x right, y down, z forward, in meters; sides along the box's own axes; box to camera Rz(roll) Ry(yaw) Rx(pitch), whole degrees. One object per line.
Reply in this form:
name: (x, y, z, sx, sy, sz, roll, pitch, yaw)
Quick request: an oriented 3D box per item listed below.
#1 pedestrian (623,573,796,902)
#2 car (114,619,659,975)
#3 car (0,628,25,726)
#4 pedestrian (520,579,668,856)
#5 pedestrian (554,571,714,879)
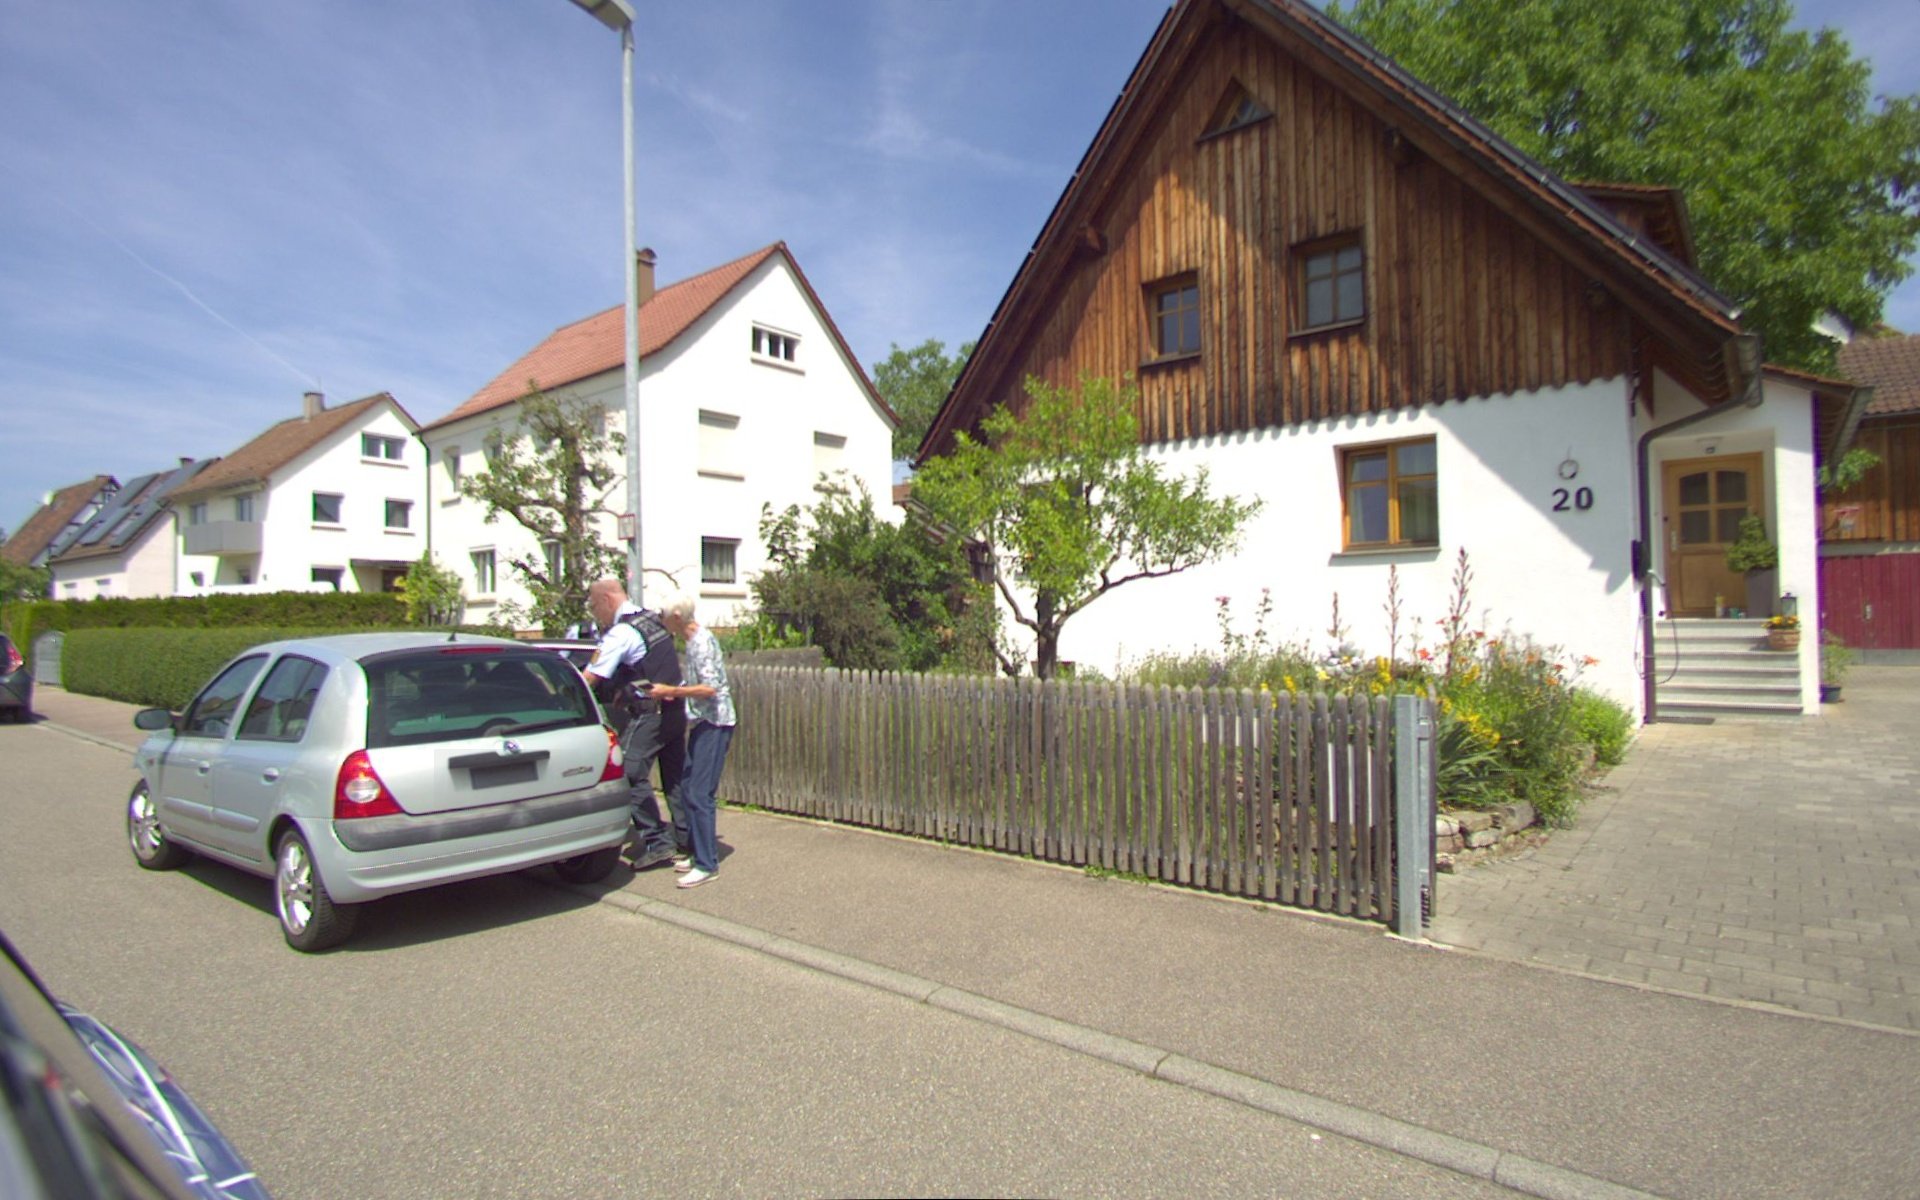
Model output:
pedestrian: (-1.363, 0.694, 5.536, 0.599, 1.655, 0.632, -2, 1, 39)
car: (-3.367, 0.852, 5.775, 3.260, 1.453, 1.567, -1, -2, 37)
car: (-16.183, 1.194, 16.066, 3.658, 1.469, 1.581, -2, -2, 41)
pedestrian: (-2.353, 0.708, 6.522, 0.590, 1.655, 0.632, -2, 1, 39)
pedestrian: (-1.932, 0.690, 6.011, 0.590, 1.694, 0.632, -2, 1, 39)
